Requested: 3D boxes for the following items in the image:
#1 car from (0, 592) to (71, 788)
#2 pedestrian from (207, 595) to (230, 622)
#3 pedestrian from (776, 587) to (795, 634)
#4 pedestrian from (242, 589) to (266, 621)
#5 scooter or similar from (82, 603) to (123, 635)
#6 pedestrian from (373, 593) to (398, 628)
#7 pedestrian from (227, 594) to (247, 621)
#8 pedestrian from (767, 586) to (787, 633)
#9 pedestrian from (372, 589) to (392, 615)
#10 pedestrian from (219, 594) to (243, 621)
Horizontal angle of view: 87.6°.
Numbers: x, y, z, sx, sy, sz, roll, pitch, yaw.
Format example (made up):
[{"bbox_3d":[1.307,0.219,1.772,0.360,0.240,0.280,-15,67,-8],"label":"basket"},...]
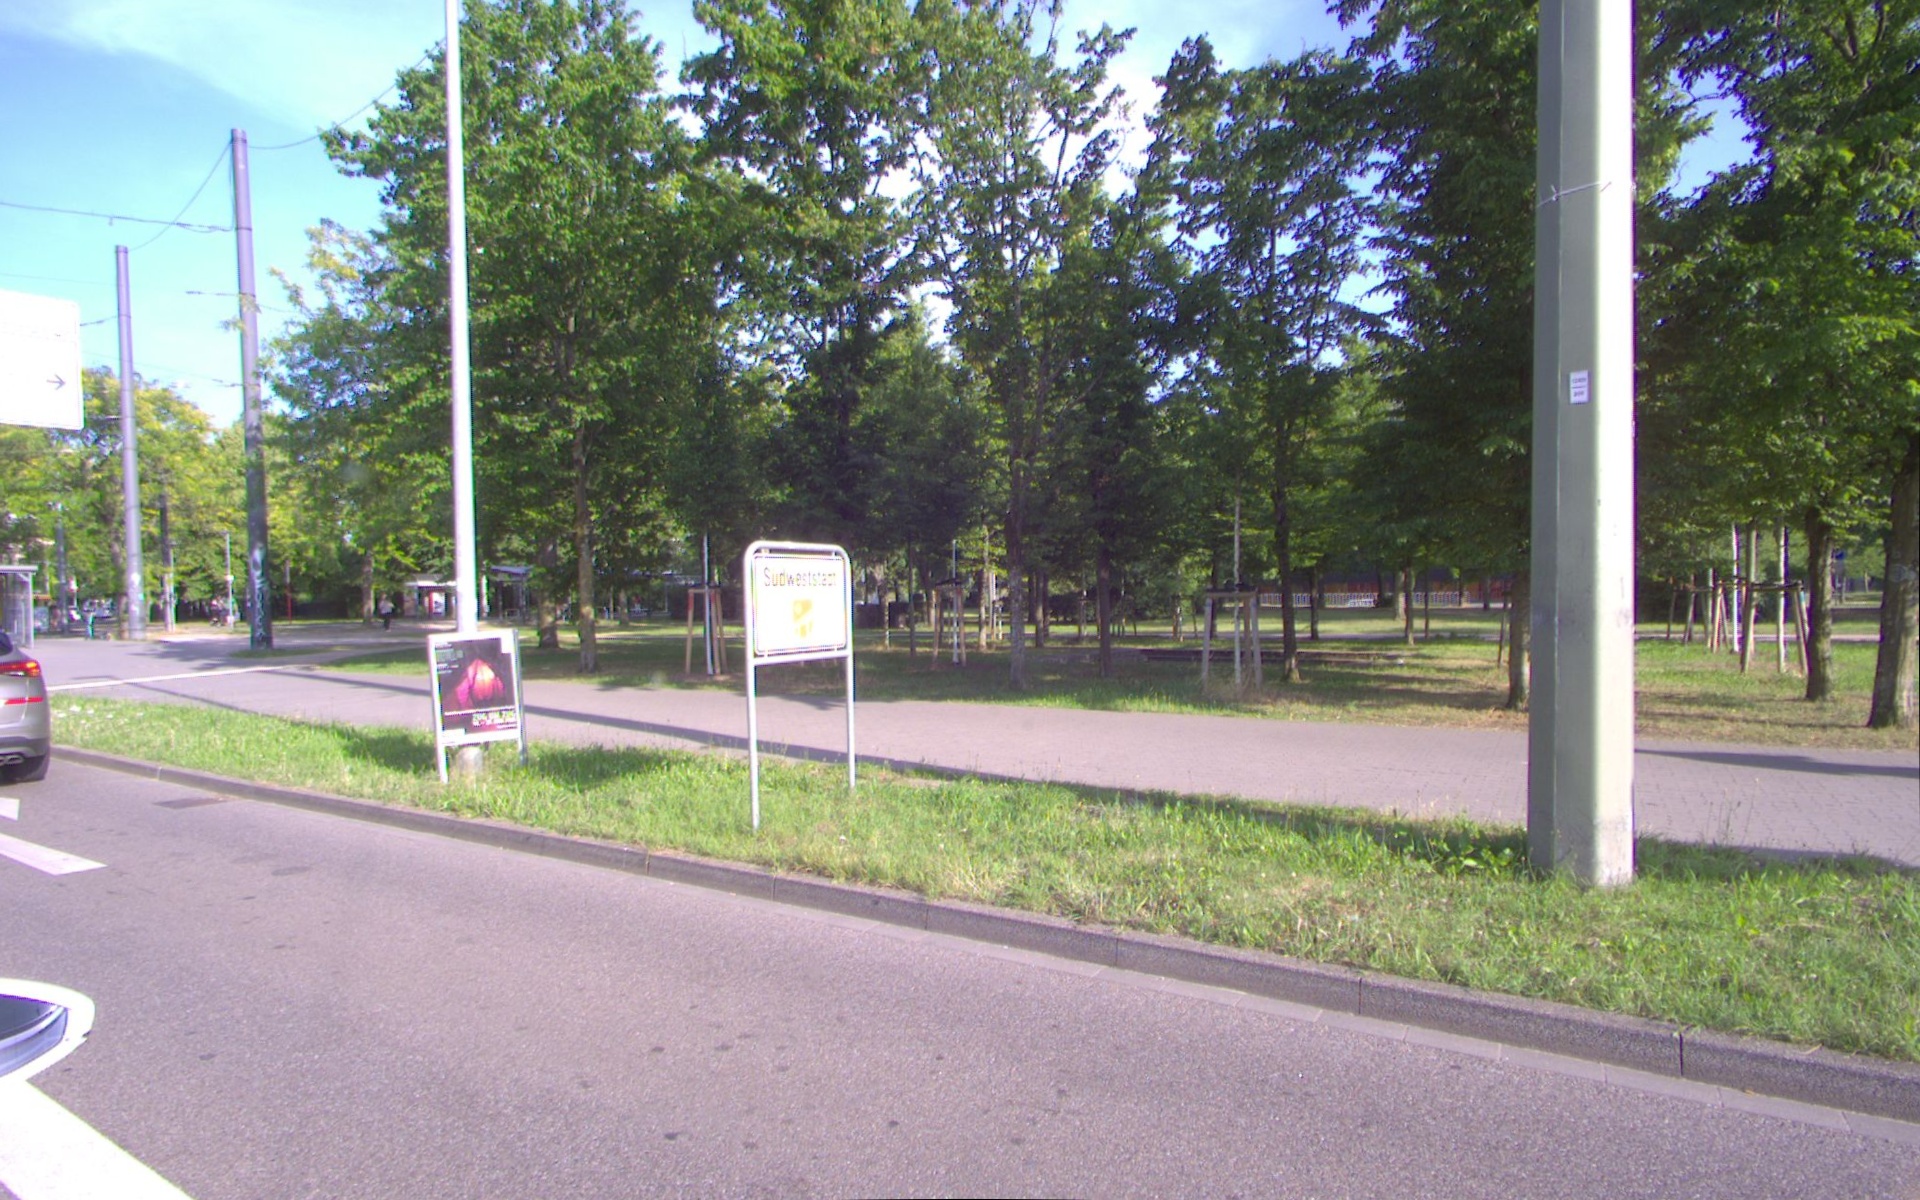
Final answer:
[{"bbox_3d":[-9.987,0.799,9.126,3.595,1.673,1.880,-1,1,32],"label":"car"},{"bbox_3d":[-41.041,0.462,55.424,0.687,1.508,0.815,-1,1,-9],"label":"pedestrian"},{"bbox_3d":[-6.896,0.409,39.667,0.617,1.836,0.502,-1,1,3],"label":"pedestrian"},{"bbox_3d":[-40.262,0.295,57.137,0.826,1.809,0.798,0,1,28],"label":"pedestrian"},{"bbox_3d":[-31.512,0.701,36.805,1.305,1.132,0.420,-1,1,13],"label":"scooter or similar"},{"bbox_3d":[-27.820,0.510,48.488,0.793,1.659,0.754,-1,1,-7],"label":"pedestrian"},{"bbox_3d":[-40.001,0.408,55.406,0.804,1.508,0.696,-2,1,-33],"label":"pedestrian"},{"bbox_3d":[-7.124,0.371,39.022,0.617,1.836,0.502,-1,1,6],"label":"pedestrian"},{"bbox_3d":[-36.913,0.130,63.988,0.792,1.659,0.832,0,1,38],"label":"pedestrian"},{"bbox_3d":[-41.105,0.417,56.451,0.688,1.508,0.813,0,1,22],"label":"pedestrian"}]
